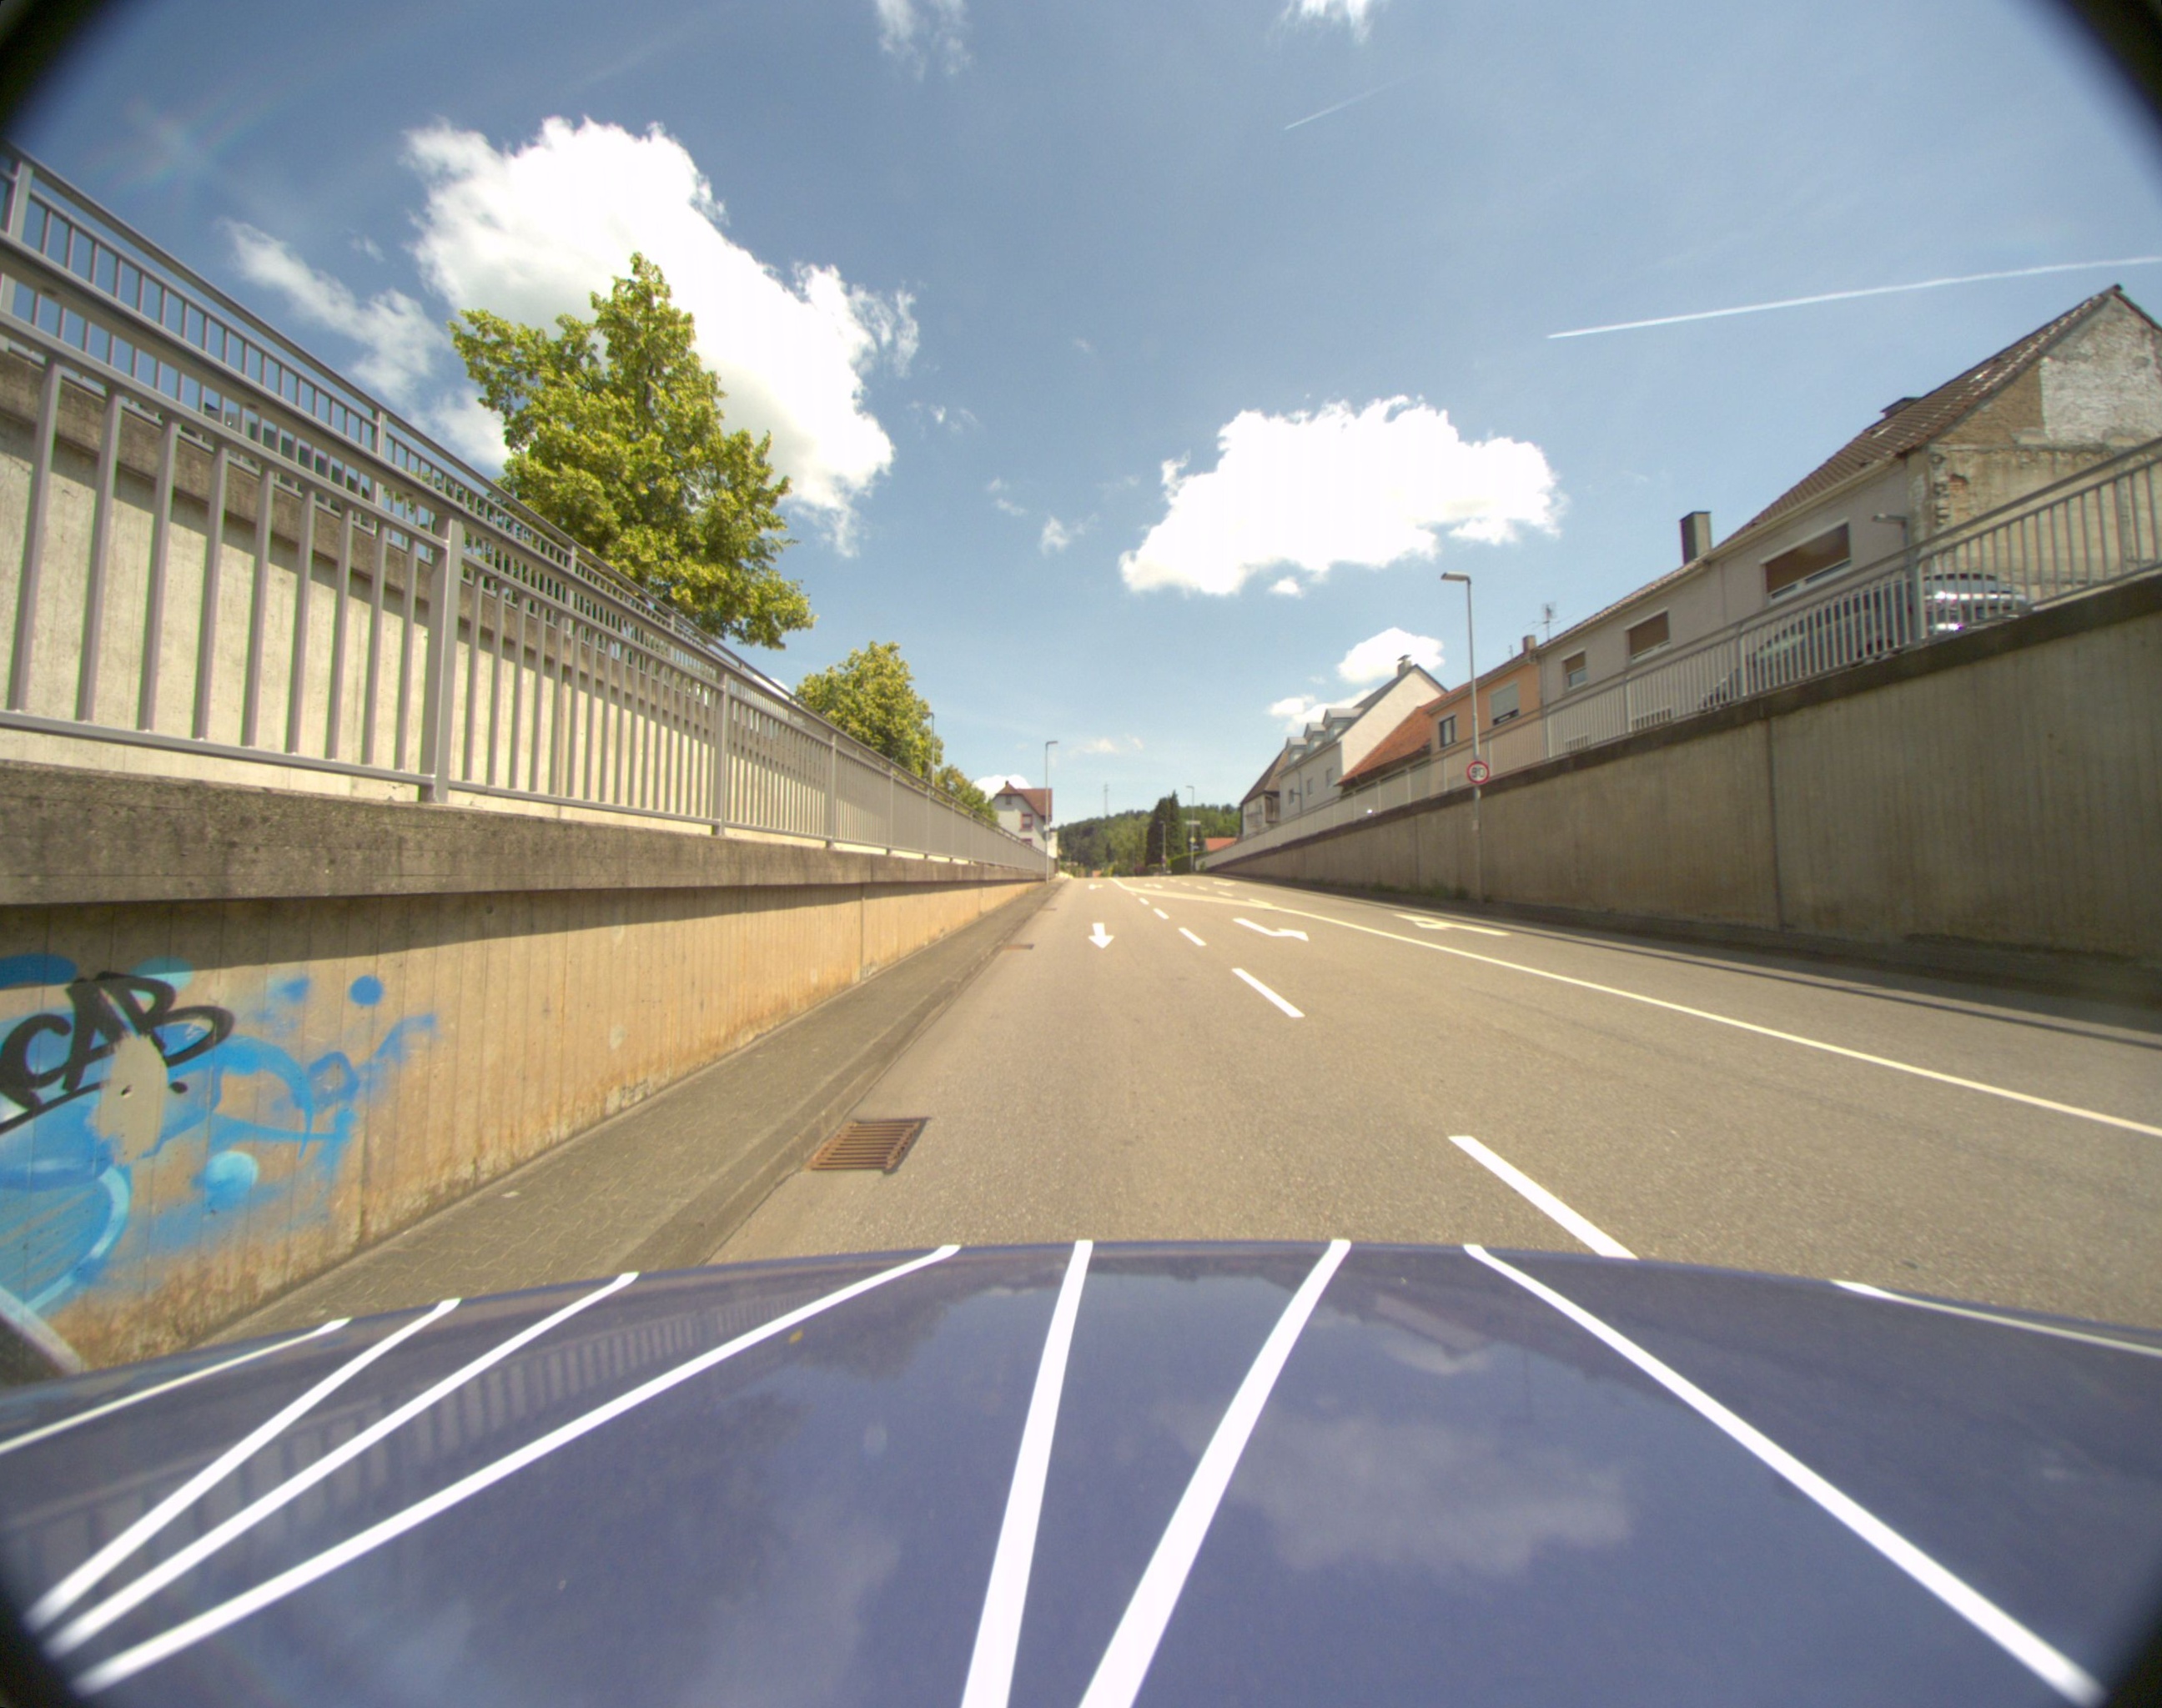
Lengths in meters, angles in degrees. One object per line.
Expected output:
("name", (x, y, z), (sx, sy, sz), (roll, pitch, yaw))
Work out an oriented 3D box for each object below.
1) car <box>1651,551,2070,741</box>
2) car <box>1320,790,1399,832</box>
("car", (11.341, -2.918, 11.649), (1.803, 1.515, 4.394), (-1, -2, -1))
("car", (12.289, -1.843, 33.870), (1.790, 1.396, 4.394), (-1, -2, -1))
